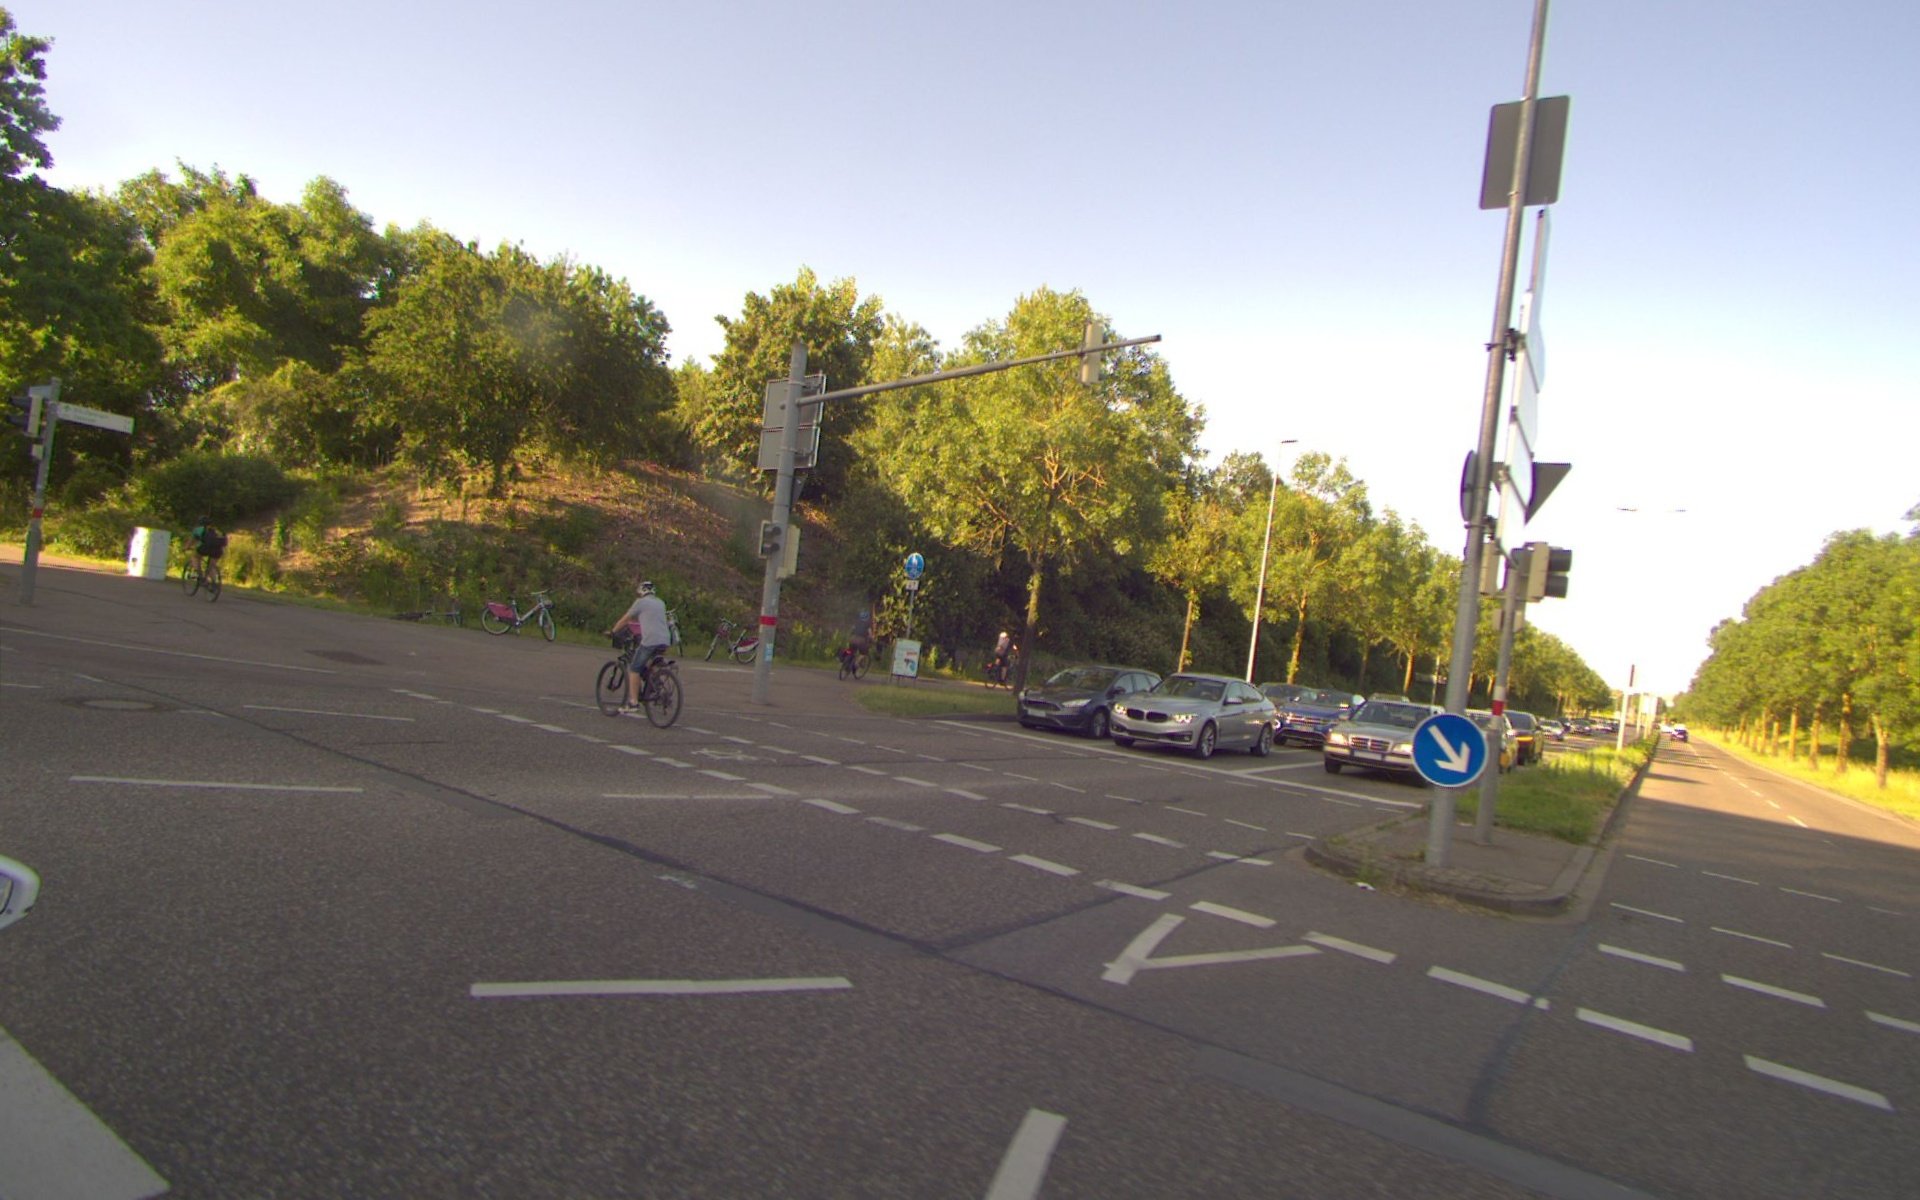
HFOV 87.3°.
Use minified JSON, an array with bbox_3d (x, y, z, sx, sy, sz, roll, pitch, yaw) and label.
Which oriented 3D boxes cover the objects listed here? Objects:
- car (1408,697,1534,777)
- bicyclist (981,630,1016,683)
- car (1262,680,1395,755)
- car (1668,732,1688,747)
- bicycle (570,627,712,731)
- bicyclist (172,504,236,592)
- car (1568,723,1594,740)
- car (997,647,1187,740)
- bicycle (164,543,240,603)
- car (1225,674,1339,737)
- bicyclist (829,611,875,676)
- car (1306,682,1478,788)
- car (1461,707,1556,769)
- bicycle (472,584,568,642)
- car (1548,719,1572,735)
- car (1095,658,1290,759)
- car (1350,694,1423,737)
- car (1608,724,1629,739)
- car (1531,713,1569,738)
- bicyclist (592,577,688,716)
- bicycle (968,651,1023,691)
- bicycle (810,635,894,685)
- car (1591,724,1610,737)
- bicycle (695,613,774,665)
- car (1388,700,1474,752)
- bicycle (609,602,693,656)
[{"bbox_3d":[12.345,3.289,24.137,1.801,1.530,4.551,5,-4,38],"label":"car"},{"bbox_3d":[1.169,1.717,30.585,0.642,1.498,0.616,7,-1,40],"label":"bicyclist"},{"bbox_3d":[9.386,3.001,25.408,1.801,1.530,4.551,5,-4,38],"label":"car"},{"bbox_3d":[89.581,17.438,125.472,1.801,1.530,4.551,5,-4,38],"label":"car"},{"bbox_3d":[-3.868,0.939,12.142,1.723,1.035,0.592,5,-3,35],"label":"bicycle"},{"bbox_3d":[-15.028,-1.028,19.999,0.927,1.631,0.592,5,-3,34],"label":"bicyclist"},{"bbox_3d":[65.736,13.918,106.466,1.801,1.530,4.551,5,-4,38],"label":"car"},{"bbox_3d":[2.882,2.022,21.054,1.801,1.530,4.551,5,-4,38],"label":"car"},{"bbox_3d":[-15.084,-0.538,20.001,1.723,1.035,0.592,5,-3,35],"label":"bicycle"},{"bbox_3d":[9.918,3.252,30.741,1.801,1.530,4.551,5,-4,38],"label":"car"},{"bbox_3d":[-2.669,1.069,24.865,0.659,1.491,0.747,4,-3,45],"label":"bicyclist"},{"bbox_3d":[8.194,2.530,18.832,1.801,1.530,4.551,5,-4,38],"label":"car"},{"bbox_3d":[16.920,4.253,30.916,1.801,1.530,4.551,5,-4,38],"label":"car"},{"bbox_3d":[-9.572,0.295,21.928,0.585,1.034,1.745,5,-4,39],"label":"bicycle"},{"bbox_3d":[71.550,15.146,119.932,1.801,1.530,4.551,5,-4,38],"label":"car"},{"bbox_3d":[4.567,2.120,19.228,1.801,1.530,4.551,5,-4,38],"label":"car"},{"bbox_3d":[19.054,5.167,44.819,1.801,1.530,4.551,5,-4,38],"label":"car"},{"bbox_3d":[82.391,16.509,125.882,1.801,1.530,4.551,5,-4,38],"label":"car"},{"bbox_3d":[43.633,9.293,74.307,1.801,1.530,4.551,5,-4,38],"label":"car"},{"bbox_3d":[-3.857,0.562,12.141,0.757,1.566,0.592,5,-2,34],"label":"bicyclist"},{"bbox_3d":[1.102,2.172,30.580,0.660,1.034,1.745,5,-4,39],"label":"bicycle"},{"bbox_3d":[-2.645,1.498,24.910,0.665,1.034,2.046,4,-4,43],"label":"bicycle"},{"bbox_3d":[90.256,18.432,141.840,1.801,1.530,4.551,5,-4,38],"label":"car"},{"bbox_3d":[-5.414,0.950,24.264,0.586,1.034,1.743,5,-4,42],"label":"bicycle"},{"bbox_3d":[17.061,4.594,36.338,1.801,1.530,4.551,5,-4,38],"label":"car"},{"bbox_3d":[-7.153,0.687,23.345,0.585,1.034,1.745,5,-4,39],"label":"bicycle"}]
